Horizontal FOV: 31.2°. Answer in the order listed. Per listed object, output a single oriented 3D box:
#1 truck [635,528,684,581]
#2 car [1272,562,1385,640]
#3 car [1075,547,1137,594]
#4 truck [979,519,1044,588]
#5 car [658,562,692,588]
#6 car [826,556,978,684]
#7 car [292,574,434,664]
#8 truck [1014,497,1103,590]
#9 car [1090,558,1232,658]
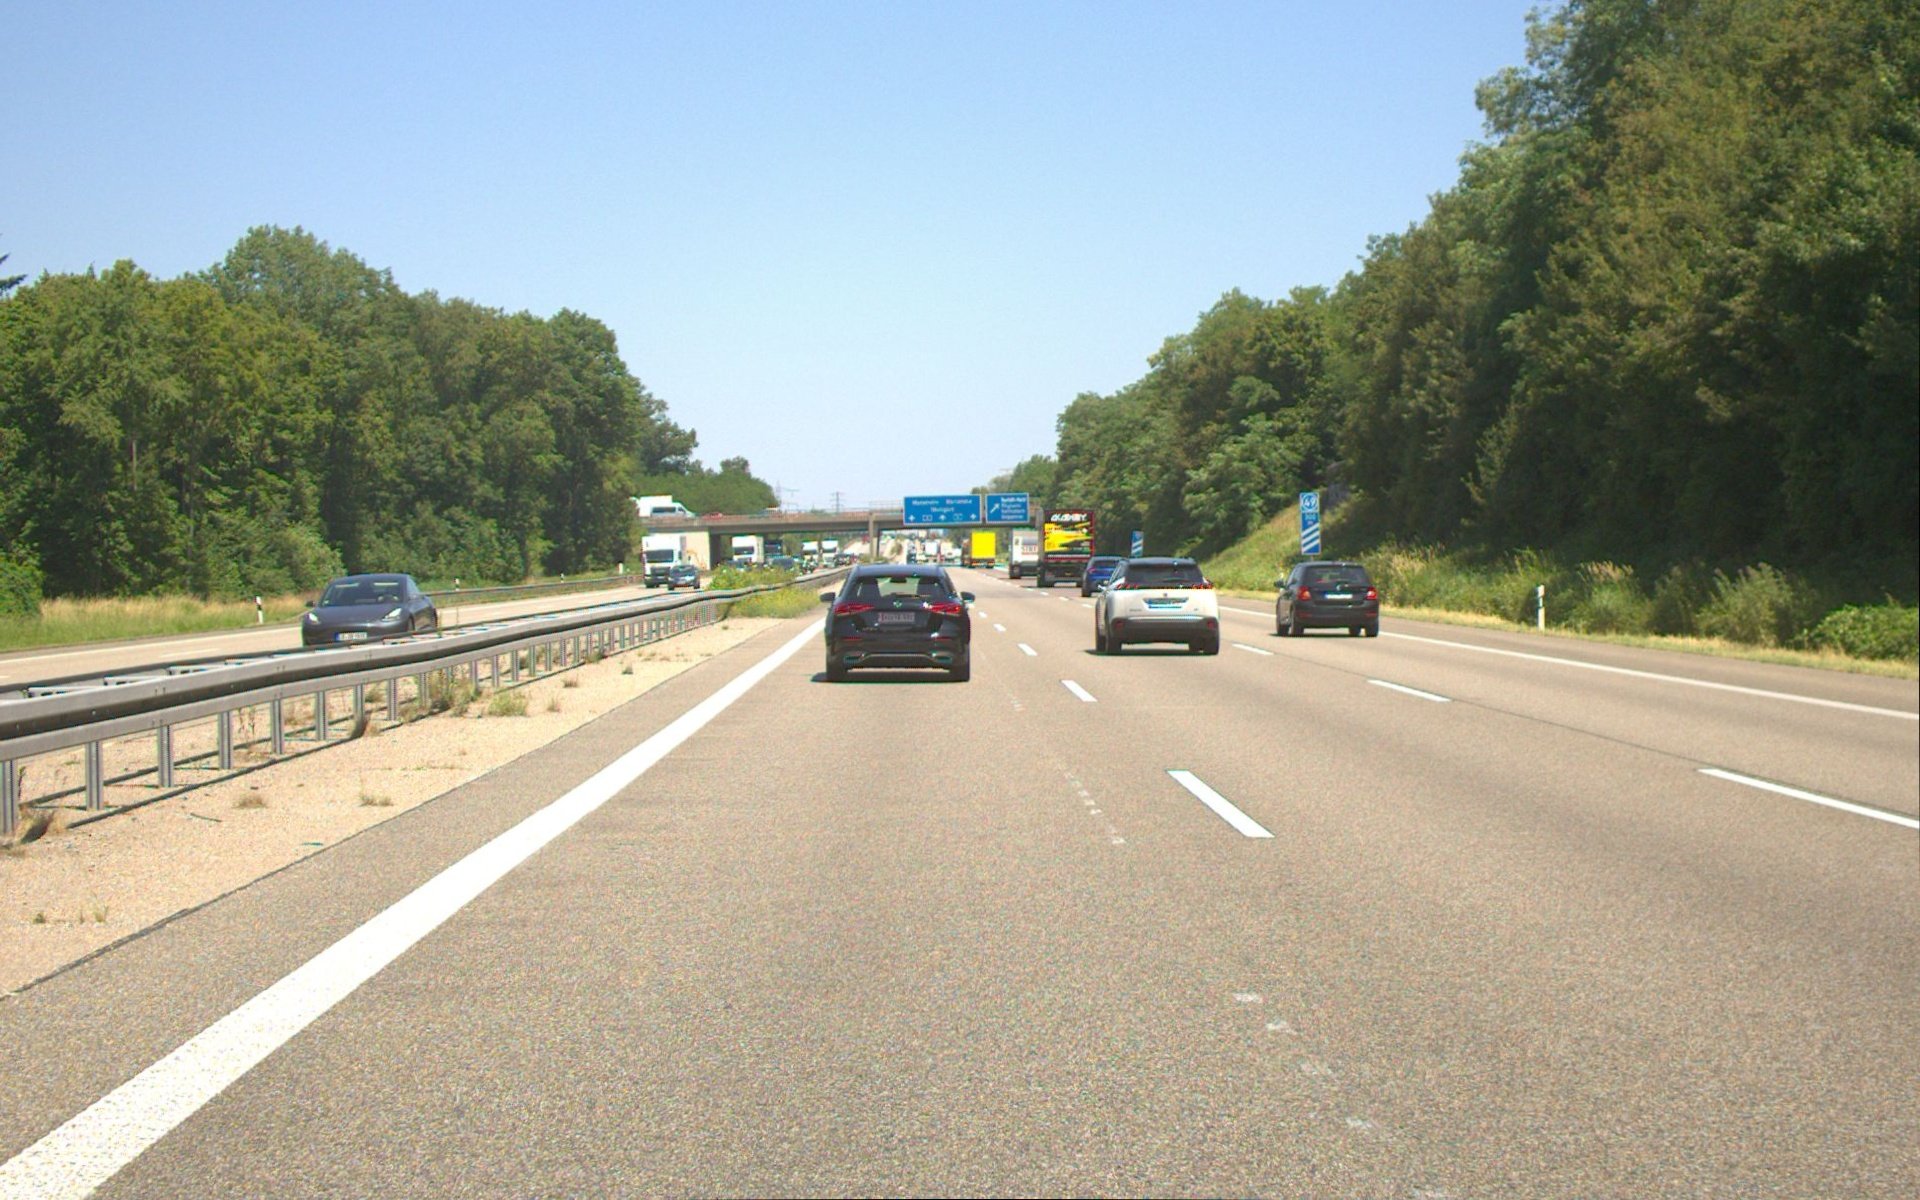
[{"bbox_3d":[-21.418,-3.263,245.740,2.796,3.620,10.698,-1,1,-2],"label":"truck"},{"bbox_3d":[7.145,-0.008,66.987,1.789,1.456,3.949,0,1,0],"label":"car"},{"bbox_3d":[5.647,-1.169,133.198,2.076,1.745,4.242,-1,1,-2],"label":"car"},{"bbox_3d":[3.501,-3.170,237.804,3.647,4.574,17.249,1,1,-2],"label":"truck"},{"bbox_3d":[-17.225,-1.542,208.006,1.799,1.527,4.679,0,1,-2],"label":"car"},{"bbox_3d":[-0.754,0.212,43.076,1.799,1.497,4.242,0,1,-2],"label":"car"},{"bbox_3d":[-10.421,0.305,60.283,1.805,1.475,4.568,-1,1,-2],"label":"car"},{"bbox_3d":[5.046,-2.902,179.943,3.647,4.574,15.768,1,1,-2],"label":"truck"},{"bbox_3d":[3.176,0.094,55.037,1.899,1.527,4.242,0,1,-2],"label":"car"}]
